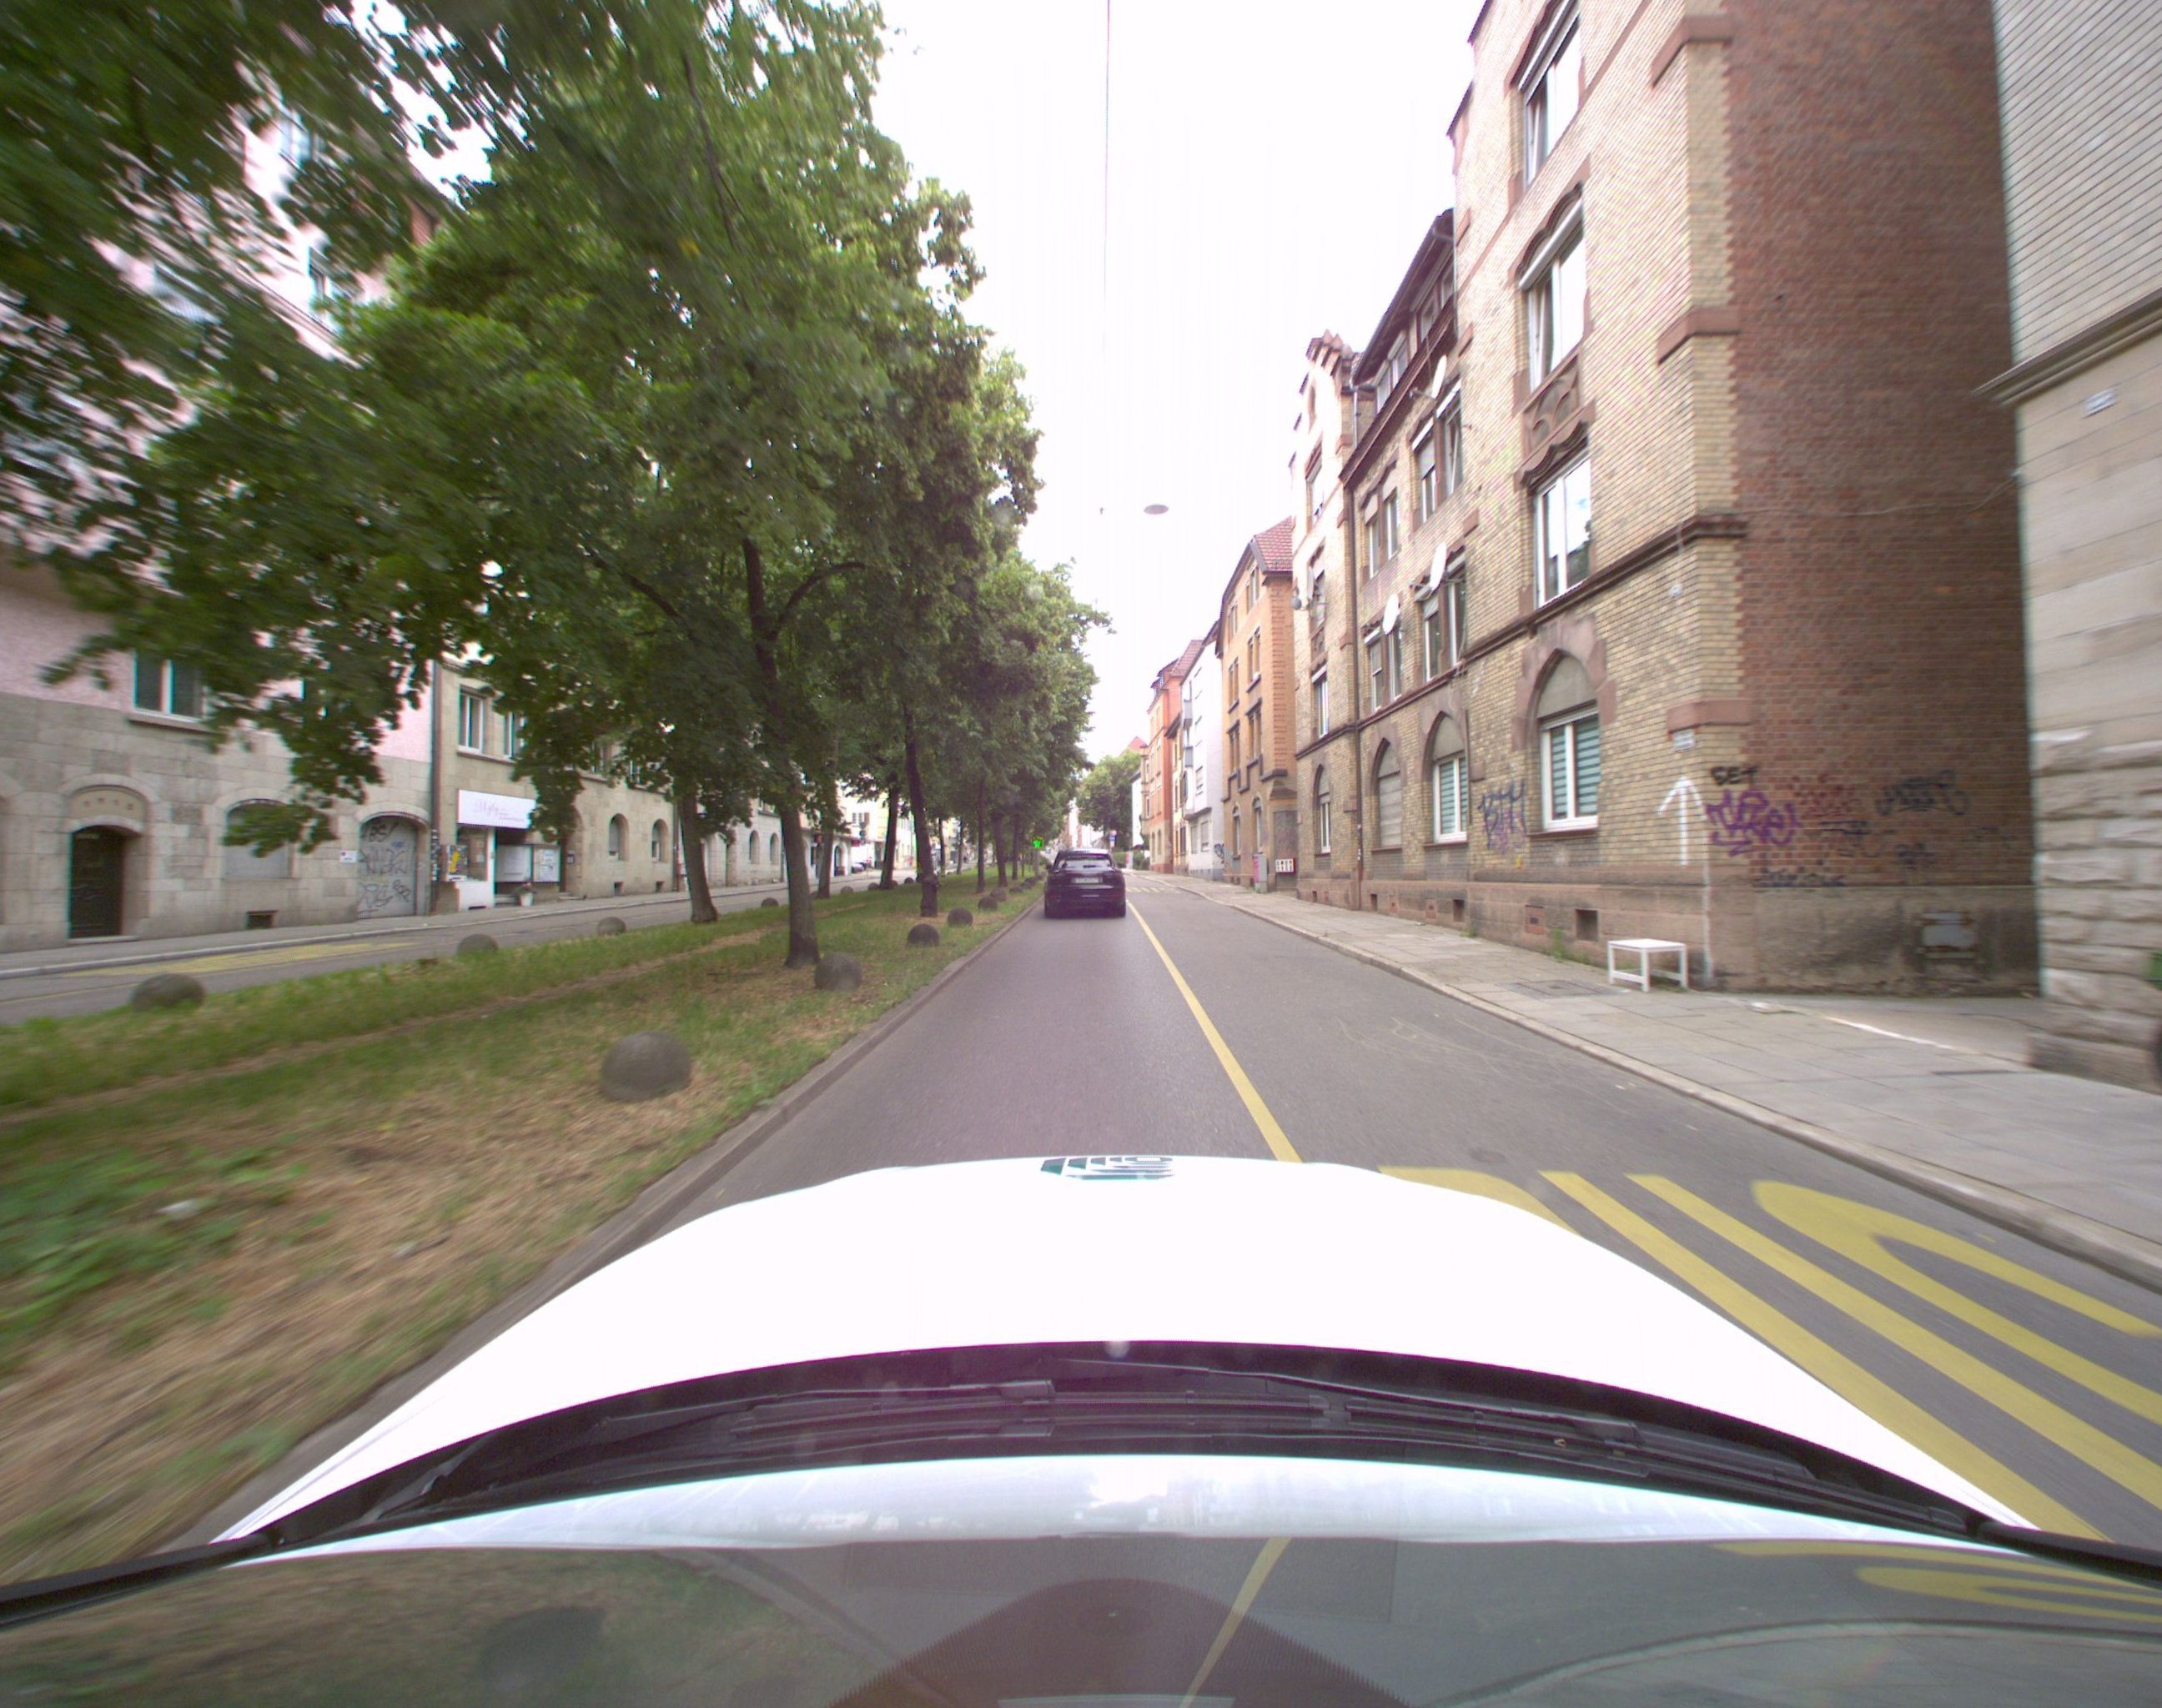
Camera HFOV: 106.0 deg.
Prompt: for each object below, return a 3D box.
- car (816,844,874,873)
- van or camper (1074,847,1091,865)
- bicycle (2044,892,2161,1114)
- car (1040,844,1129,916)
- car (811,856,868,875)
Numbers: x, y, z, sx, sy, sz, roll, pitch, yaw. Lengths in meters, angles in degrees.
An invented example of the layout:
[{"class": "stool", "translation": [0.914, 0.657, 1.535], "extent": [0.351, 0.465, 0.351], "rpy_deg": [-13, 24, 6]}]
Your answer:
[{"class": "car", "translation": [-22.713, 0.478, 78.650], "extent": [5.175, 2.736, 2.168], "rpy_deg": [1, -1, -12]}, {"class": "van or camper", "translation": [0.209, 0.317, 132.014], "extent": [2.474, 2.803, 7.229], "rpy_deg": [0, -1, -3]}, {"class": "bicycle", "translation": [6.015, 0.788, 3.583], "extent": [0.679, 1.149, 2.485], "rpy_deg": [-1, -1, 3]}, {"class": "car", "translation": [-0.024, 0.623, 20.993], "extent": [1.900, 1.666, 4.127], "rpy_deg": [0, -1, -5]}, {"class": "car", "translation": [-20.719, 0.989, 70.021], "extent": [4.276, 1.420, 2.046], "rpy_deg": [2, 0, -2]}]
